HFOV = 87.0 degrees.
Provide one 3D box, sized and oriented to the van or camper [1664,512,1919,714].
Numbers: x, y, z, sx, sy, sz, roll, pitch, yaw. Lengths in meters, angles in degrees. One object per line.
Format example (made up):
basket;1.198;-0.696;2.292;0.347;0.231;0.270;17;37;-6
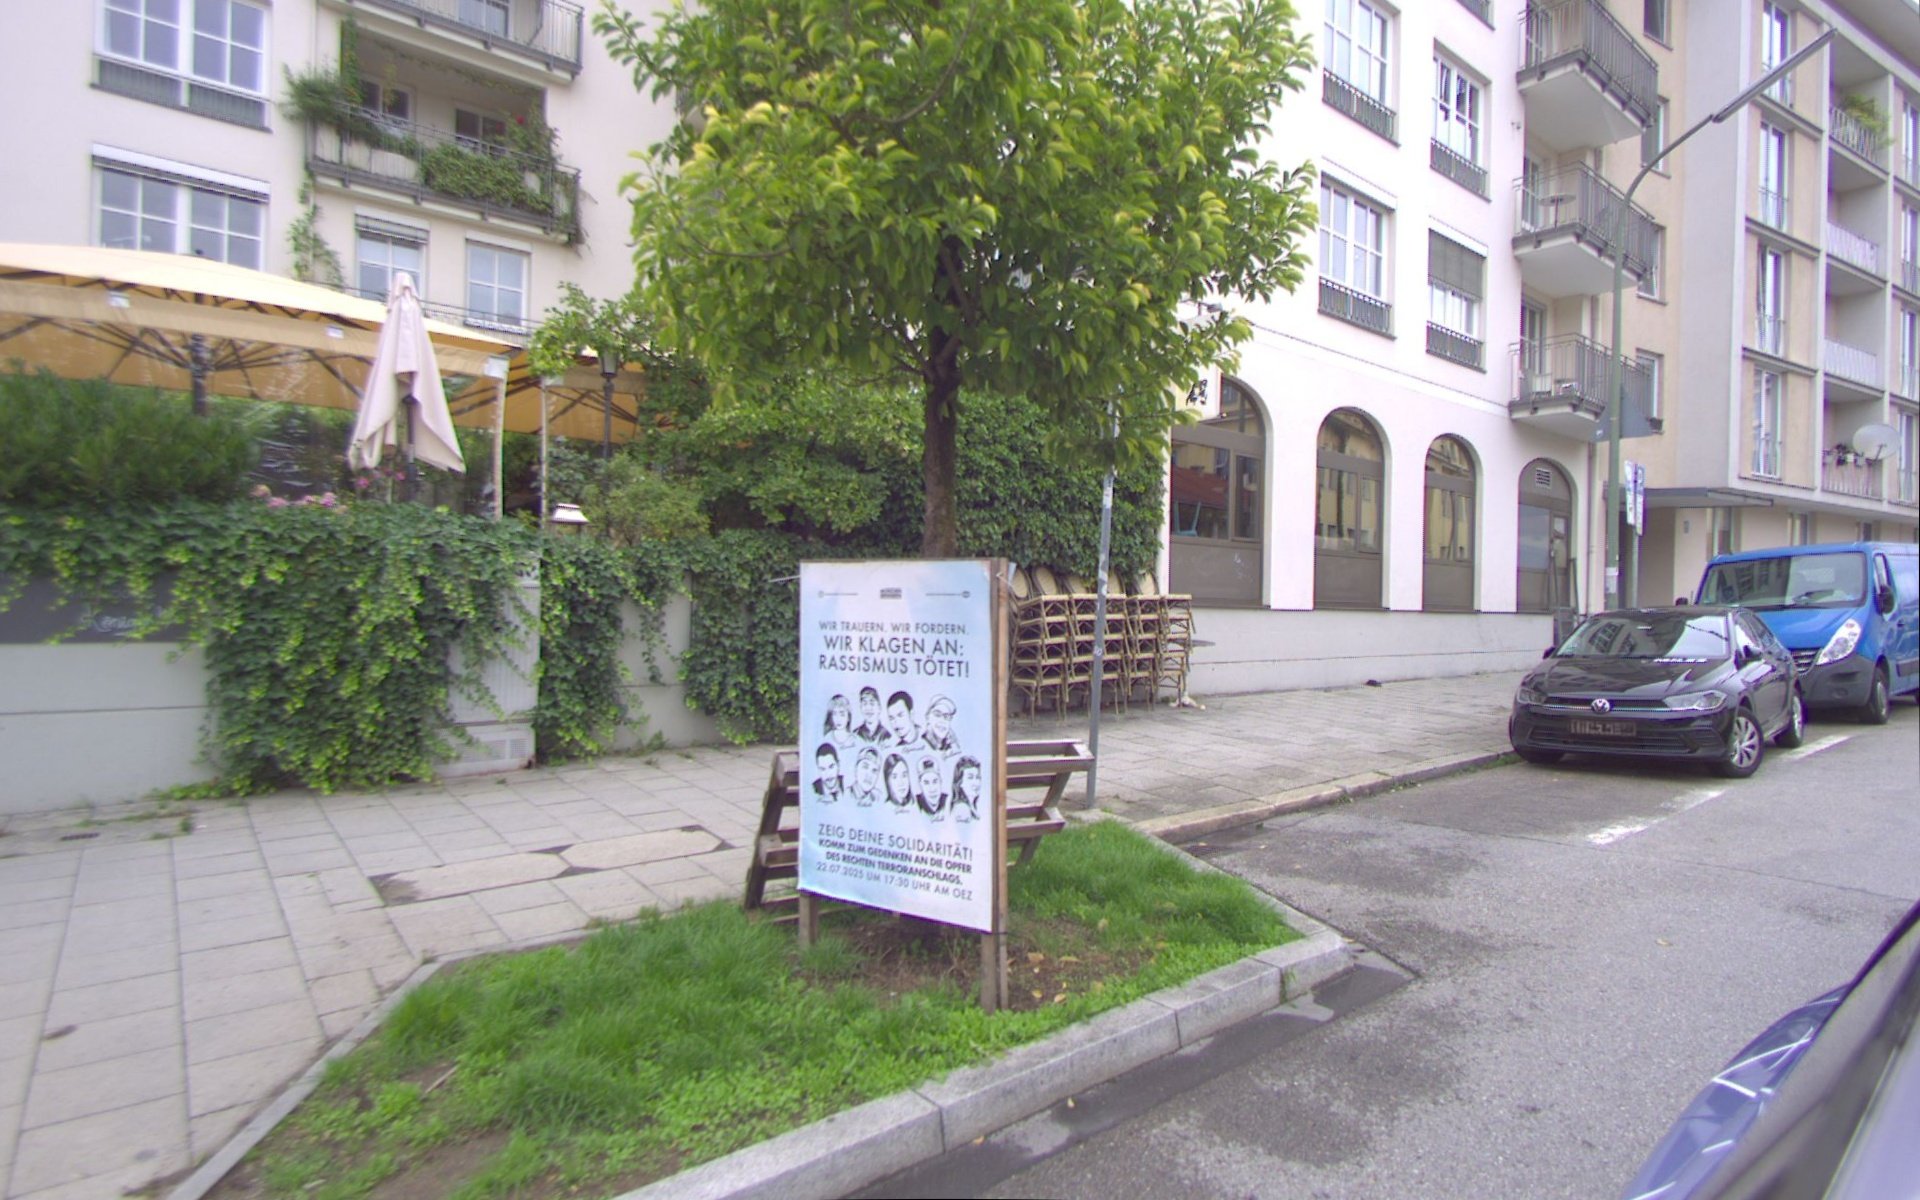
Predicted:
van or camper;11.820;0.144;13.725;5.336;2.259;2.067;1;1;-36

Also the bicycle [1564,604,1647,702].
bicycle;8.544;0.663;13.377;0.664;1.203;1.565;1;1;42

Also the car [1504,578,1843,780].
car;6.899;0.643;9.644;3.889;1.538;1.706;1;-2;-41

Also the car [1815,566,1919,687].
car;16.417;0.420;16.922;4.840;1.839;1.971;1;1;-34
